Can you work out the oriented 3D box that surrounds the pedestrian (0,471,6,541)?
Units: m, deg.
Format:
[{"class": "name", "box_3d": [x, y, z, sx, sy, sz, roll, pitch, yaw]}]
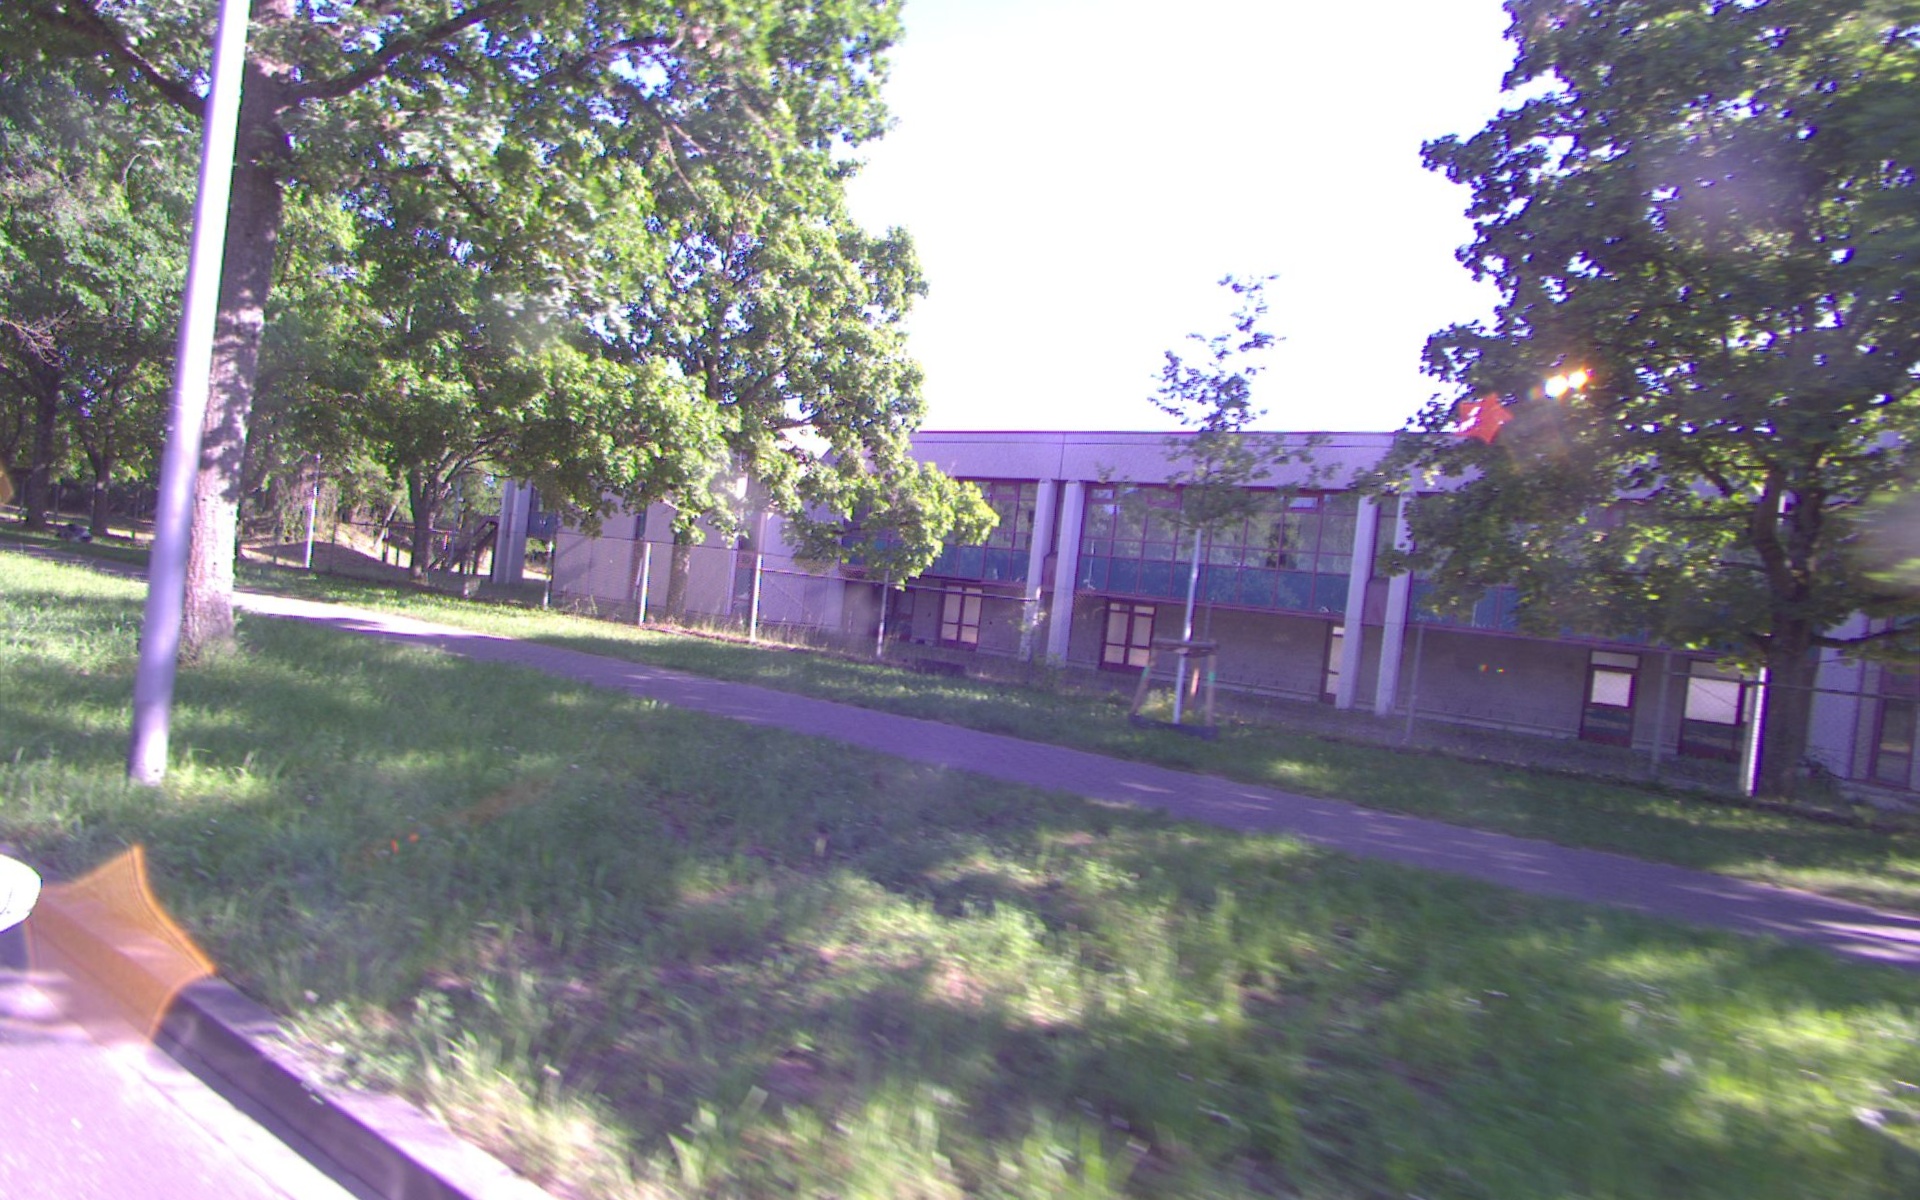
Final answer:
[{"class": "pedestrian", "box_3d": [-23.469, -2.302, 24.183, 0.713, 1.653, 0.602, 3, 4, -42]}]
